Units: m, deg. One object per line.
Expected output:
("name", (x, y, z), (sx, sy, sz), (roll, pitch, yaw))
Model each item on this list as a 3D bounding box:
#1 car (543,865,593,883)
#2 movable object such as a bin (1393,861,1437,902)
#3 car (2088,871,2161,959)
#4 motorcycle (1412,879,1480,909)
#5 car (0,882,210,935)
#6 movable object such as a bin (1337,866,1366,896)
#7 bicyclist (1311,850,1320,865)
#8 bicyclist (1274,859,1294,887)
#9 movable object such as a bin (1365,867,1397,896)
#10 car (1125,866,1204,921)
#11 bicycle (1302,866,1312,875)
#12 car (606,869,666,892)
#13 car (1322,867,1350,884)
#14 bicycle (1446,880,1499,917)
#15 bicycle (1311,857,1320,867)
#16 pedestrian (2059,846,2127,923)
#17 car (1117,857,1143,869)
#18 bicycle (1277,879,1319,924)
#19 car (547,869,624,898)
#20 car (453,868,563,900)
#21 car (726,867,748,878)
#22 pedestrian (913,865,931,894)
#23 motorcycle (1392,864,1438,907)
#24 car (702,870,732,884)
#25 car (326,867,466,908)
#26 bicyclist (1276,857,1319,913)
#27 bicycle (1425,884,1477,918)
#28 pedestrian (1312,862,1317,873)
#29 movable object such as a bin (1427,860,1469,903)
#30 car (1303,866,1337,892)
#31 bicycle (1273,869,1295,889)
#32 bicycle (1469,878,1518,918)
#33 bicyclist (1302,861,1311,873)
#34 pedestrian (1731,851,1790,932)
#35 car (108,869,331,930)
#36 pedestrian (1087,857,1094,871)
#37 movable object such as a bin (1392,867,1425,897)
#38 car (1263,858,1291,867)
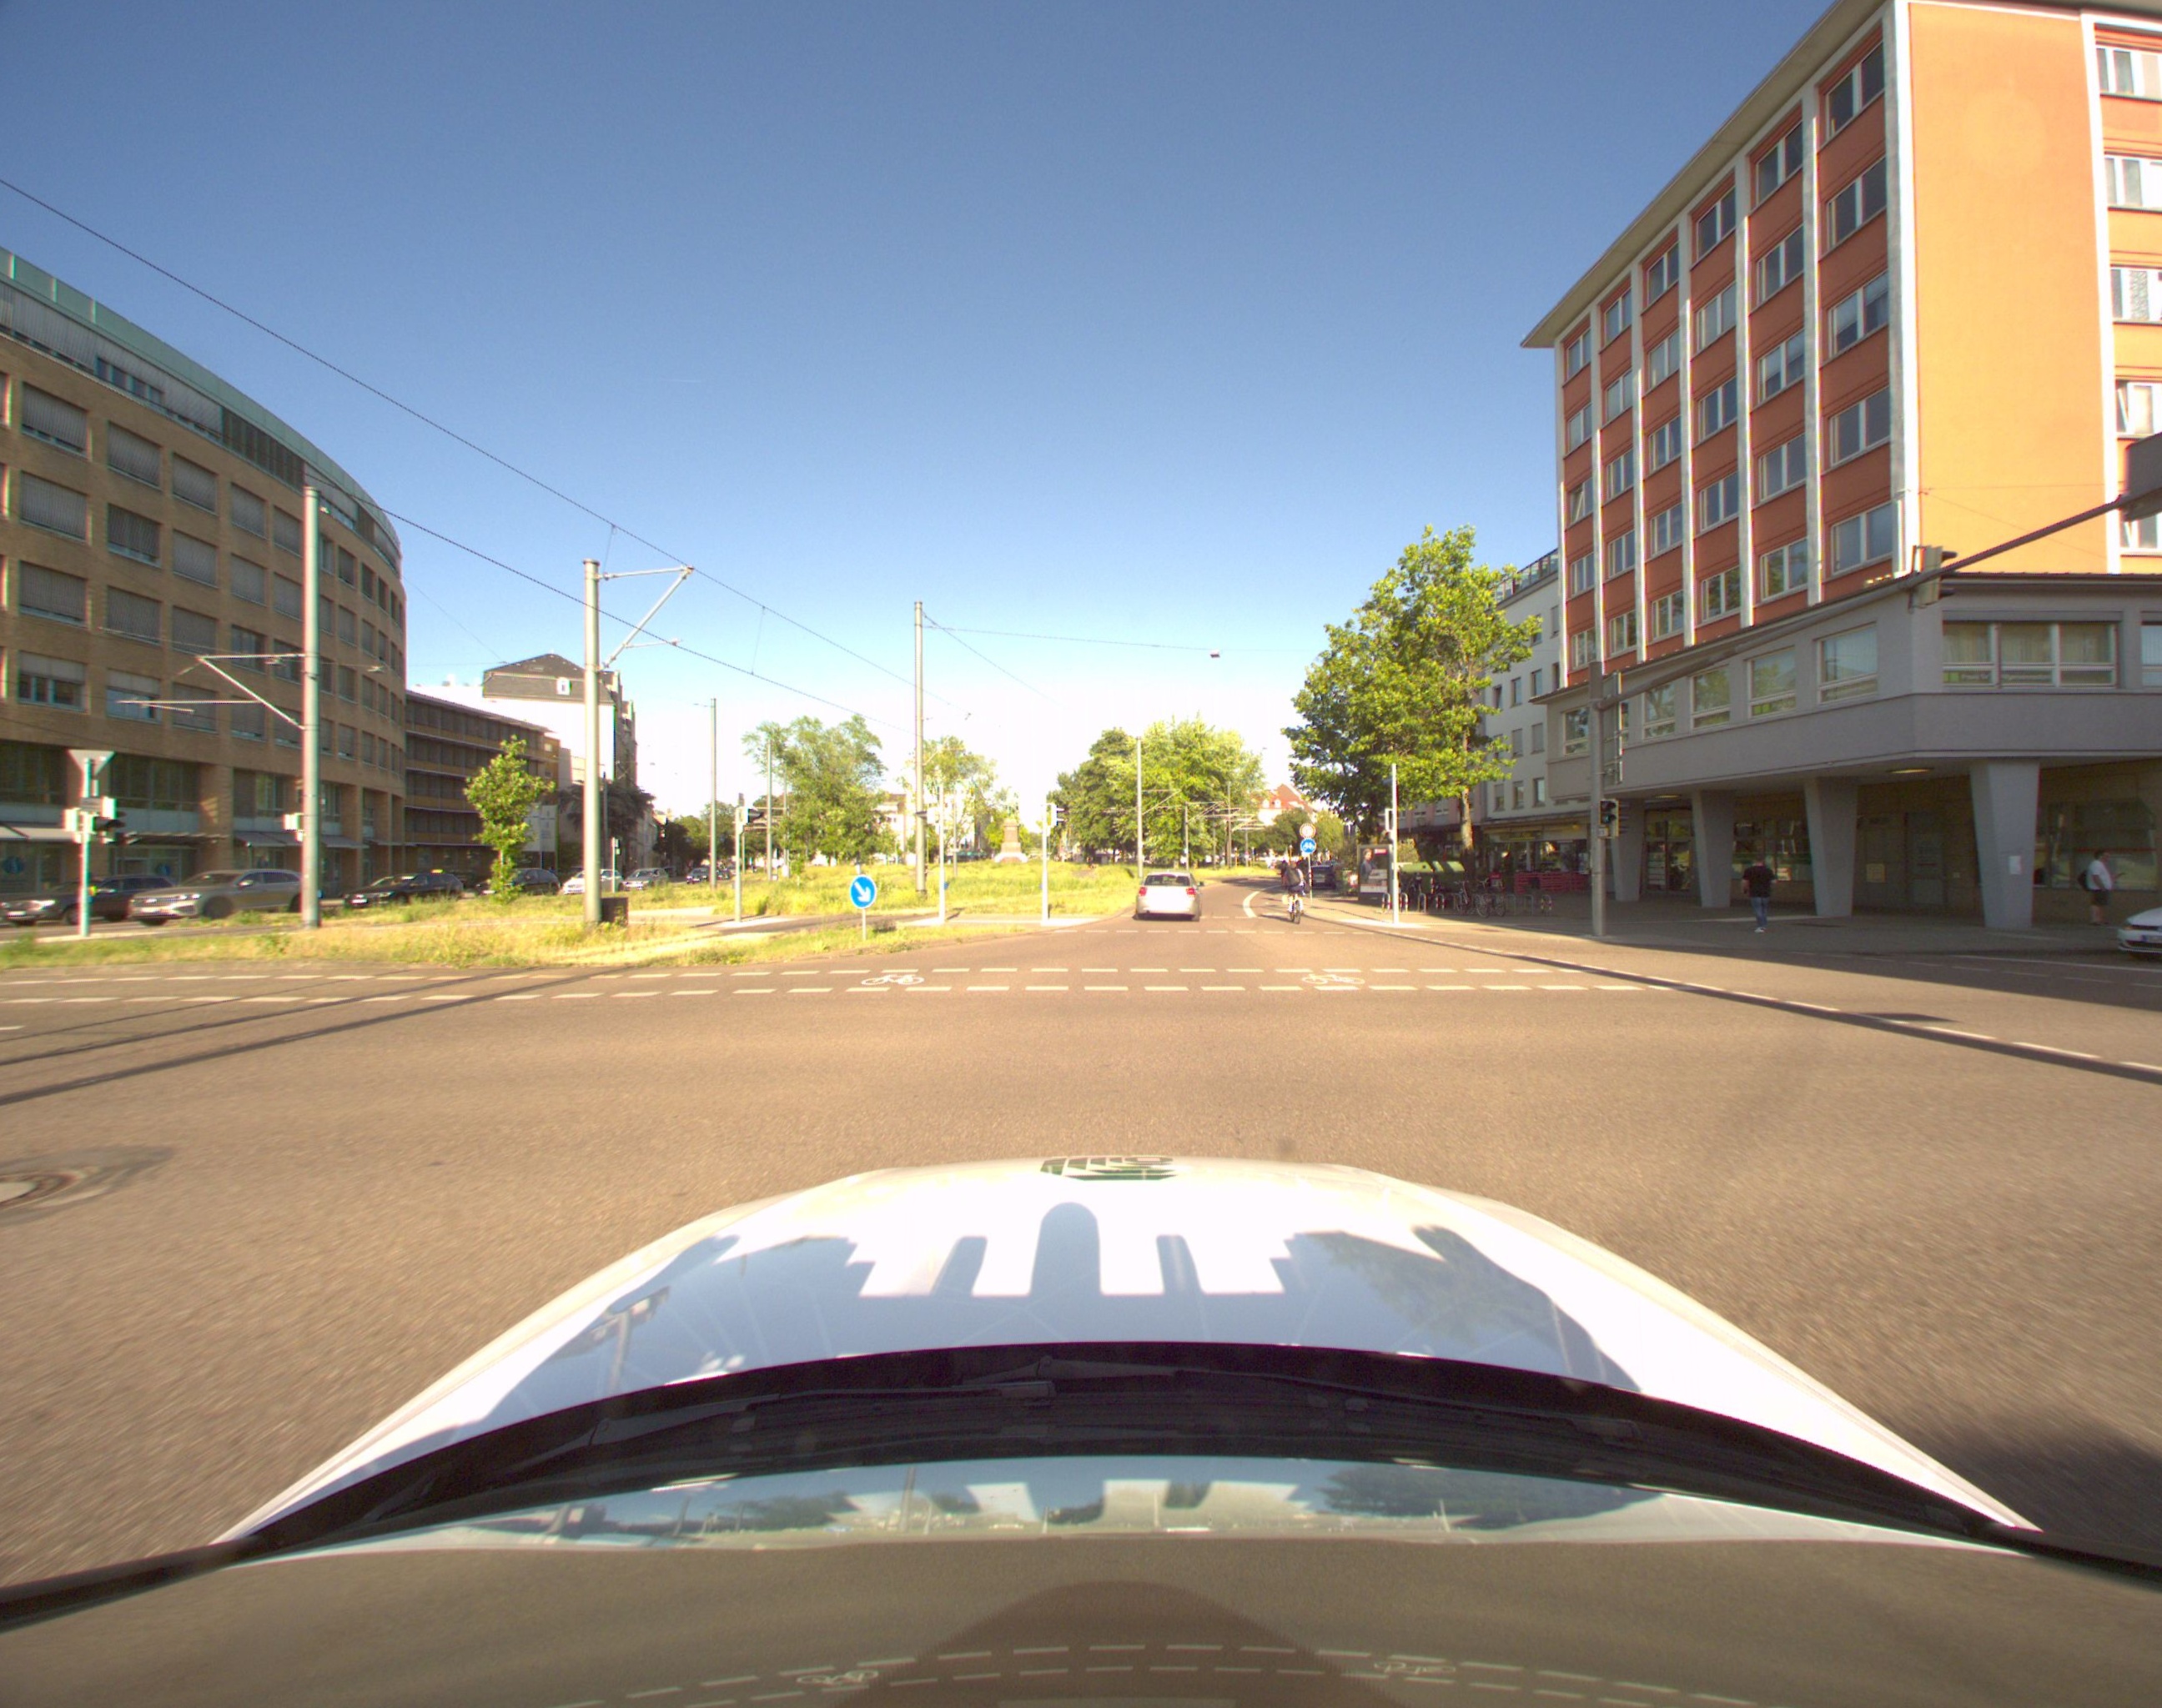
("car", (-49.172, 1.932, 78.131), (4.014, 1.581, 1.979), (2, -2, -33))
("movable object such as a bin", (13.692, 1.125, 33.394), (1.378, 1.640, 1.007), (1, -1, -4))
("car", (20.696, 1.107, 14.263), (4.143, 1.503, 1.842), (2, -3, -5))
("motorcycle", (12.976, 1.413, 28.963), (2.091, 1.022, 0.761), (1, -1, -3))
("car", (-35.832, 1.909, 29.937), (2.113, 1.668, 5.204), (2, -1, -3))
("movable object such as a bin", (12.988, 1.299, 39.139), (1.271, 1.391, 0.925), (1, -1, 15))
("bicyclist", (23.383, 0.371, 81.168), (0.779, 1.453, 1.101), (1, -2, 20))
("bicyclist", (12.480, 1.167, 50.026), (0.930, 1.633, 0.941), (1, -2, 28))
("movable object such as a bin", (14.314, 1.322, 38.937), (1.169, 1.356, 0.927), (1, -1, -2))
("car", (2.551, 1.111, 23.855), (1.981, 1.423, 4.207), (1, -1, 10))
("bicycle", (27.736, 2.016, 100.011), (0.806, 1.069, 2.587), (1, -1, 6))
("car", (-29.684, 1.740, 54.497), (1.992, 1.427, 4.498), (2, -1, -7))
("car", (21.769, 1.812, 69.435), (1.835, 1.344, 4.624), (1, -1, 23))
("bicycle", (12.388, 1.387, 25.816), (0.475, 1.117, 2.115), (2, -1, -6))
("bicycle", (23.392, 0.801, 81.251), (0.647, 0.958, 2.711), (1, -1, 20))
("pedestrian", (24.306, 0.724, 19.566), (0.860, 1.779, 0.891), (2, -2, -30))
("car", (10.276, 1.952, 172.133), (5.322, 2.314, 1.998), (1, -1, -2))
("bicycle", (5.986, 1.278, 22.589), (0.880, 1.136, 2.234), (1, -1, 9))
("car", (-29.365, 1.714, 48.442), (1.990, 1.596, 4.648), (2, -1, -5))
("car", (-28.967, 1.485, 41.407), (1.987, 1.447, 5.017), (1, -1, 0))
("car", (-47.587, 2.543, 112.764), (1.995, 1.354, 4.747), (1, 0, -13))
("pedestrian", (-8.993, 1.435, 46.129), (0.727, 1.671, 0.748), (0, -1, 22))
("motorcycle", (12.590, 1.167, 30.789), (0.799, 1.539, 2.547), (1, -1, 4))
("car", (-43.132, 2.716, 96.624), (1.992, 1.513, 4.270), (1, -4, -8))
("car", (-28.124, 1.345, 33.669), (1.990, 1.517, 4.654), (2, -1, -4))
("bicyclist", (6.010, 0.858, 22.659), (1.032, 1.484, 0.991), (1, -1, 9))
("bicycle", (11.681, 1.456, 25.770), (0.475, 0.985, 2.115), (2, -1, -6))
("pedestrian", (34.721, 2.035, 121.282), (0.630, 1.672, 0.696), (1, -2, 22))
("movable object such as a bin", (15.021, 1.122, 33.397), (1.253, 1.709, 0.944), (0, -2, -4))
("car", (14.704, 1.503, 49.982), (1.751, 1.438, 4.605), (-1, -1, 19))
("bicycle", (12.488, 1.536, 50.032), (0.812, 1.185, 1.976), (1, -2, 28))
("bicycle", (13.331, 1.404, 26.366), (0.531, 1.244, 1.844), (2, -1, -4))
("bicyclist", (27.736, 1.617, 100.091), (0.924, 1.507, 0.826), (1, -1, 5))
("pedestrian", (16.086, 0.875, 19.299), (0.819, 1.845, 0.895), (1, -2, 19))
("car", (-27.786, 1.392, 26.612), (2.096, 1.734, 5.077), (0, -1, -5))
("pedestrian", (1.104, 1.154, 94.768), (0.677, 1.616, 0.550), (2, -2, -31))
("movable object such as a bin", (15.709, 1.351, 39.075), (1.209, 1.391, 0.959), (1, -1, -2))
("car", (41.986, 1.802, 174.497), (5.256, 1.800, 2.159), (2, -1, -6))
